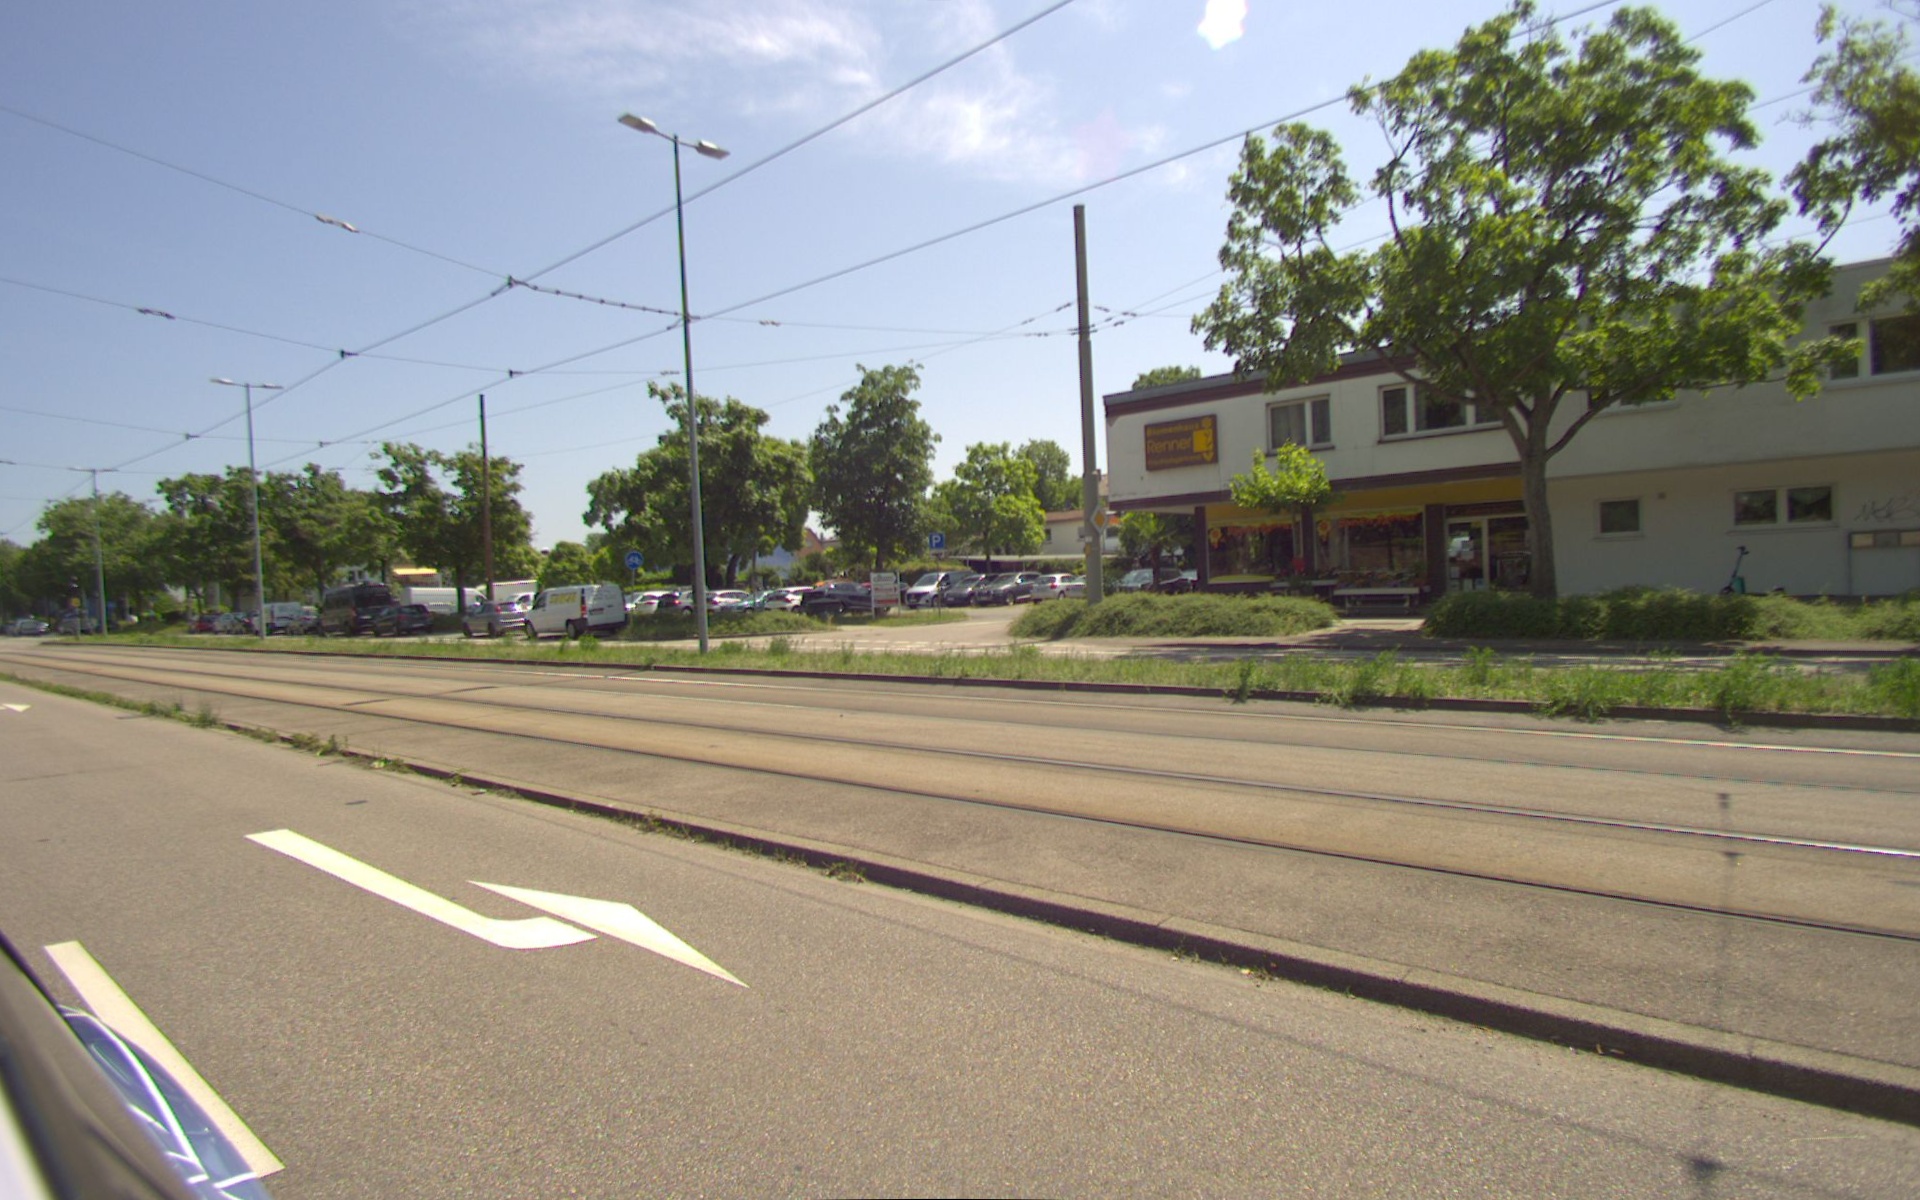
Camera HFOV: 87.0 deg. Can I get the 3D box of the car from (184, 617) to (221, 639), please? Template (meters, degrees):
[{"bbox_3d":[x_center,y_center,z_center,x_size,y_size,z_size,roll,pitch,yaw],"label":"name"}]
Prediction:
[{"bbox_3d":[-54.633,1.973,72.983,3.423,1.491,1.561,-1,0,43],"label":"car"}]

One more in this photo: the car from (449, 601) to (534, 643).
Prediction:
[{"bbox_3d":[-19.596,0.919,42.239,4.124,1.513,1.633,-1,4,42],"label":"car"}]

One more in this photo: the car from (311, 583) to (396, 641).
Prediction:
[{"bbox_3d":[-31.645,0.622,52.726,5.666,2.859,2.214,-1,0,42],"label":"car"}]

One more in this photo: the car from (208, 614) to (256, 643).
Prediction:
[{"bbox_3d":[-49.619,1.902,68.954,4.495,1.907,1.614,-1,0,41],"label":"car"}]

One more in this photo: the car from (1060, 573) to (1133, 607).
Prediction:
[{"bbox_3d":[6.747,-0.507,49.819,1.520,1.591,3.943,-1,0,43],"label":"car"}]

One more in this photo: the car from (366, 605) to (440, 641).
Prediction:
[{"bbox_3d":[-26.772,1.088,48.616,3.751,1.589,1.950,-1,0,42],"label":"car"}]

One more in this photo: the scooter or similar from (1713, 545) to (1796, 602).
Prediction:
[{"bbox_3d":[17.436,-0.569,22.226,0.448,1.200,1.349,-1,0,-29],"label":"scooter or similar"}]

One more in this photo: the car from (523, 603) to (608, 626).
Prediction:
[{"bbox_3d":[-23.068,0.834,59.348,2.030,1.152,4.210,-2,1,37],"label":"car"}]

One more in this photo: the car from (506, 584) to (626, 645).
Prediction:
[{"bbox_3d":[-14.848,0.551,38.010,5.342,2.025,1.856,-1,4,42],"label":"car"}]

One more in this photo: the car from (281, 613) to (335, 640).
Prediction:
[{"bbox_3d":[-37.520,1.499,58.211,3.608,1.475,1.744,-1,0,42],"label":"car"}]

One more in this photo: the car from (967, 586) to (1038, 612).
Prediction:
[{"bbox_3d":[2.247,-0.050,52.927,1.764,1.294,3.675,-1,0,43],"label":"car"}]

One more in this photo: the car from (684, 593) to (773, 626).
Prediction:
[{"bbox_3d":[-11.167,0.419,49.043,1.855,1.501,4.099,-1,0,34],"label":"car"}]

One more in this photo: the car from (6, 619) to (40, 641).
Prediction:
[{"bbox_3d":[-92.847,2.957,100.239,4.208,2.005,1.799,-1,0,38],"label":"car"}]

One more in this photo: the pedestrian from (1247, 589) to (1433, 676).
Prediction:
[{"bbox_3d":[9.581,0.767,25.657,3.997,2.029,1.973,-1,0,41],"label":"pedestrian"}]

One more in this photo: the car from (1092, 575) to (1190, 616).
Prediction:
[{"bbox_3d":[6.789,-0.183,37.677,1.682,1.306,3.944,-3,1,43],"label":"car"}]

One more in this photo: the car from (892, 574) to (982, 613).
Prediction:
[{"bbox_3d":[-1.255,-0.387,56.733,2.225,2.085,5.055,-1,0,41],"label":"car"}]

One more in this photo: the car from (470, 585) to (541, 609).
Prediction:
[{"bbox_3d":[-42.034,-0.320,93.705,2.145,2.078,5.674,-1,0,38],"label":"car"}]

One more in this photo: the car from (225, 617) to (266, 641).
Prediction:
[{"bbox_3d":[-46.203,1.862,65.438,3.261,1.489,1.411,-1,0,41],"label":"car"}]

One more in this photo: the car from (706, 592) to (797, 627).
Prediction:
[{"bbox_3d":[-9.638,0.430,47.044,1.908,1.501,3.995,-1,0,34],"label":"car"}]

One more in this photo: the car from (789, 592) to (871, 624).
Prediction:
[{"bbox_3d":[-5.578,0.338,43.718,1.639,1.241,3.385,-2,1,34],"label":"car"}]

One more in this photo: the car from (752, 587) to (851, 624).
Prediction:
[{"bbox_3d":[-7.147,0.234,45.847,1.983,1.501,4.120,-2,1,39],"label":"car"}]

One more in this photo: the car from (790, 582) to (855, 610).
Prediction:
[{"bbox_3d":[-8.610,-0.263,63.541,1.689,1.665,4.082,-2,0,35],"label":"car"}]

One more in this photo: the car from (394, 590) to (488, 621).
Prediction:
[{"bbox_3d":[-35.750,0.364,69.797,2.029,1.970,5.363,-1,0,43],"label":"car"}]

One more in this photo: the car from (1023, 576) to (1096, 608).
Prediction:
[{"bbox_3d":[5.142,-0.423,51.941,1.661,1.531,3.943,-1,0,43],"label":"car"}]

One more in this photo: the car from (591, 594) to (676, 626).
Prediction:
[{"bbox_3d":[-17.297,0.514,53.766,1.862,1.499,3.955,-2,1,34],"label":"car"}]

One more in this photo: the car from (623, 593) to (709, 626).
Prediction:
[{"bbox_3d":[-15.187,0.472,52.404,1.827,1.501,4.030,-2,1,34],"label":"car"}]

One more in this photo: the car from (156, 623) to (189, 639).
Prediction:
[{"bbox_3d":[-63.324,2.484,81.337,3.423,1.167,1.561,-1,0,43],"label":"car"}]

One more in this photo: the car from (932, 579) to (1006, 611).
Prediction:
[{"bbox_3d":[0.524,-0.287,55.082,1.804,1.669,3.943,-1,0,43],"label":"car"}]

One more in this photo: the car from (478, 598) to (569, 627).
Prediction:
[{"bbox_3d":[-27.221,0.743,63.232,1.997,1.588,4.866,-2,1,38],"label":"car"}]

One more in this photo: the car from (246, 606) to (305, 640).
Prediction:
[{"bbox_3d":[-41.969,1.365,62.015,4.816,1.963,1.899,-1,0,43],"label":"car"}]

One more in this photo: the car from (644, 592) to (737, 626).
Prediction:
[{"bbox_3d":[-13.317,0.440,50.232,2.018,1.501,4.117,-2,1,34],"label":"car"}]
